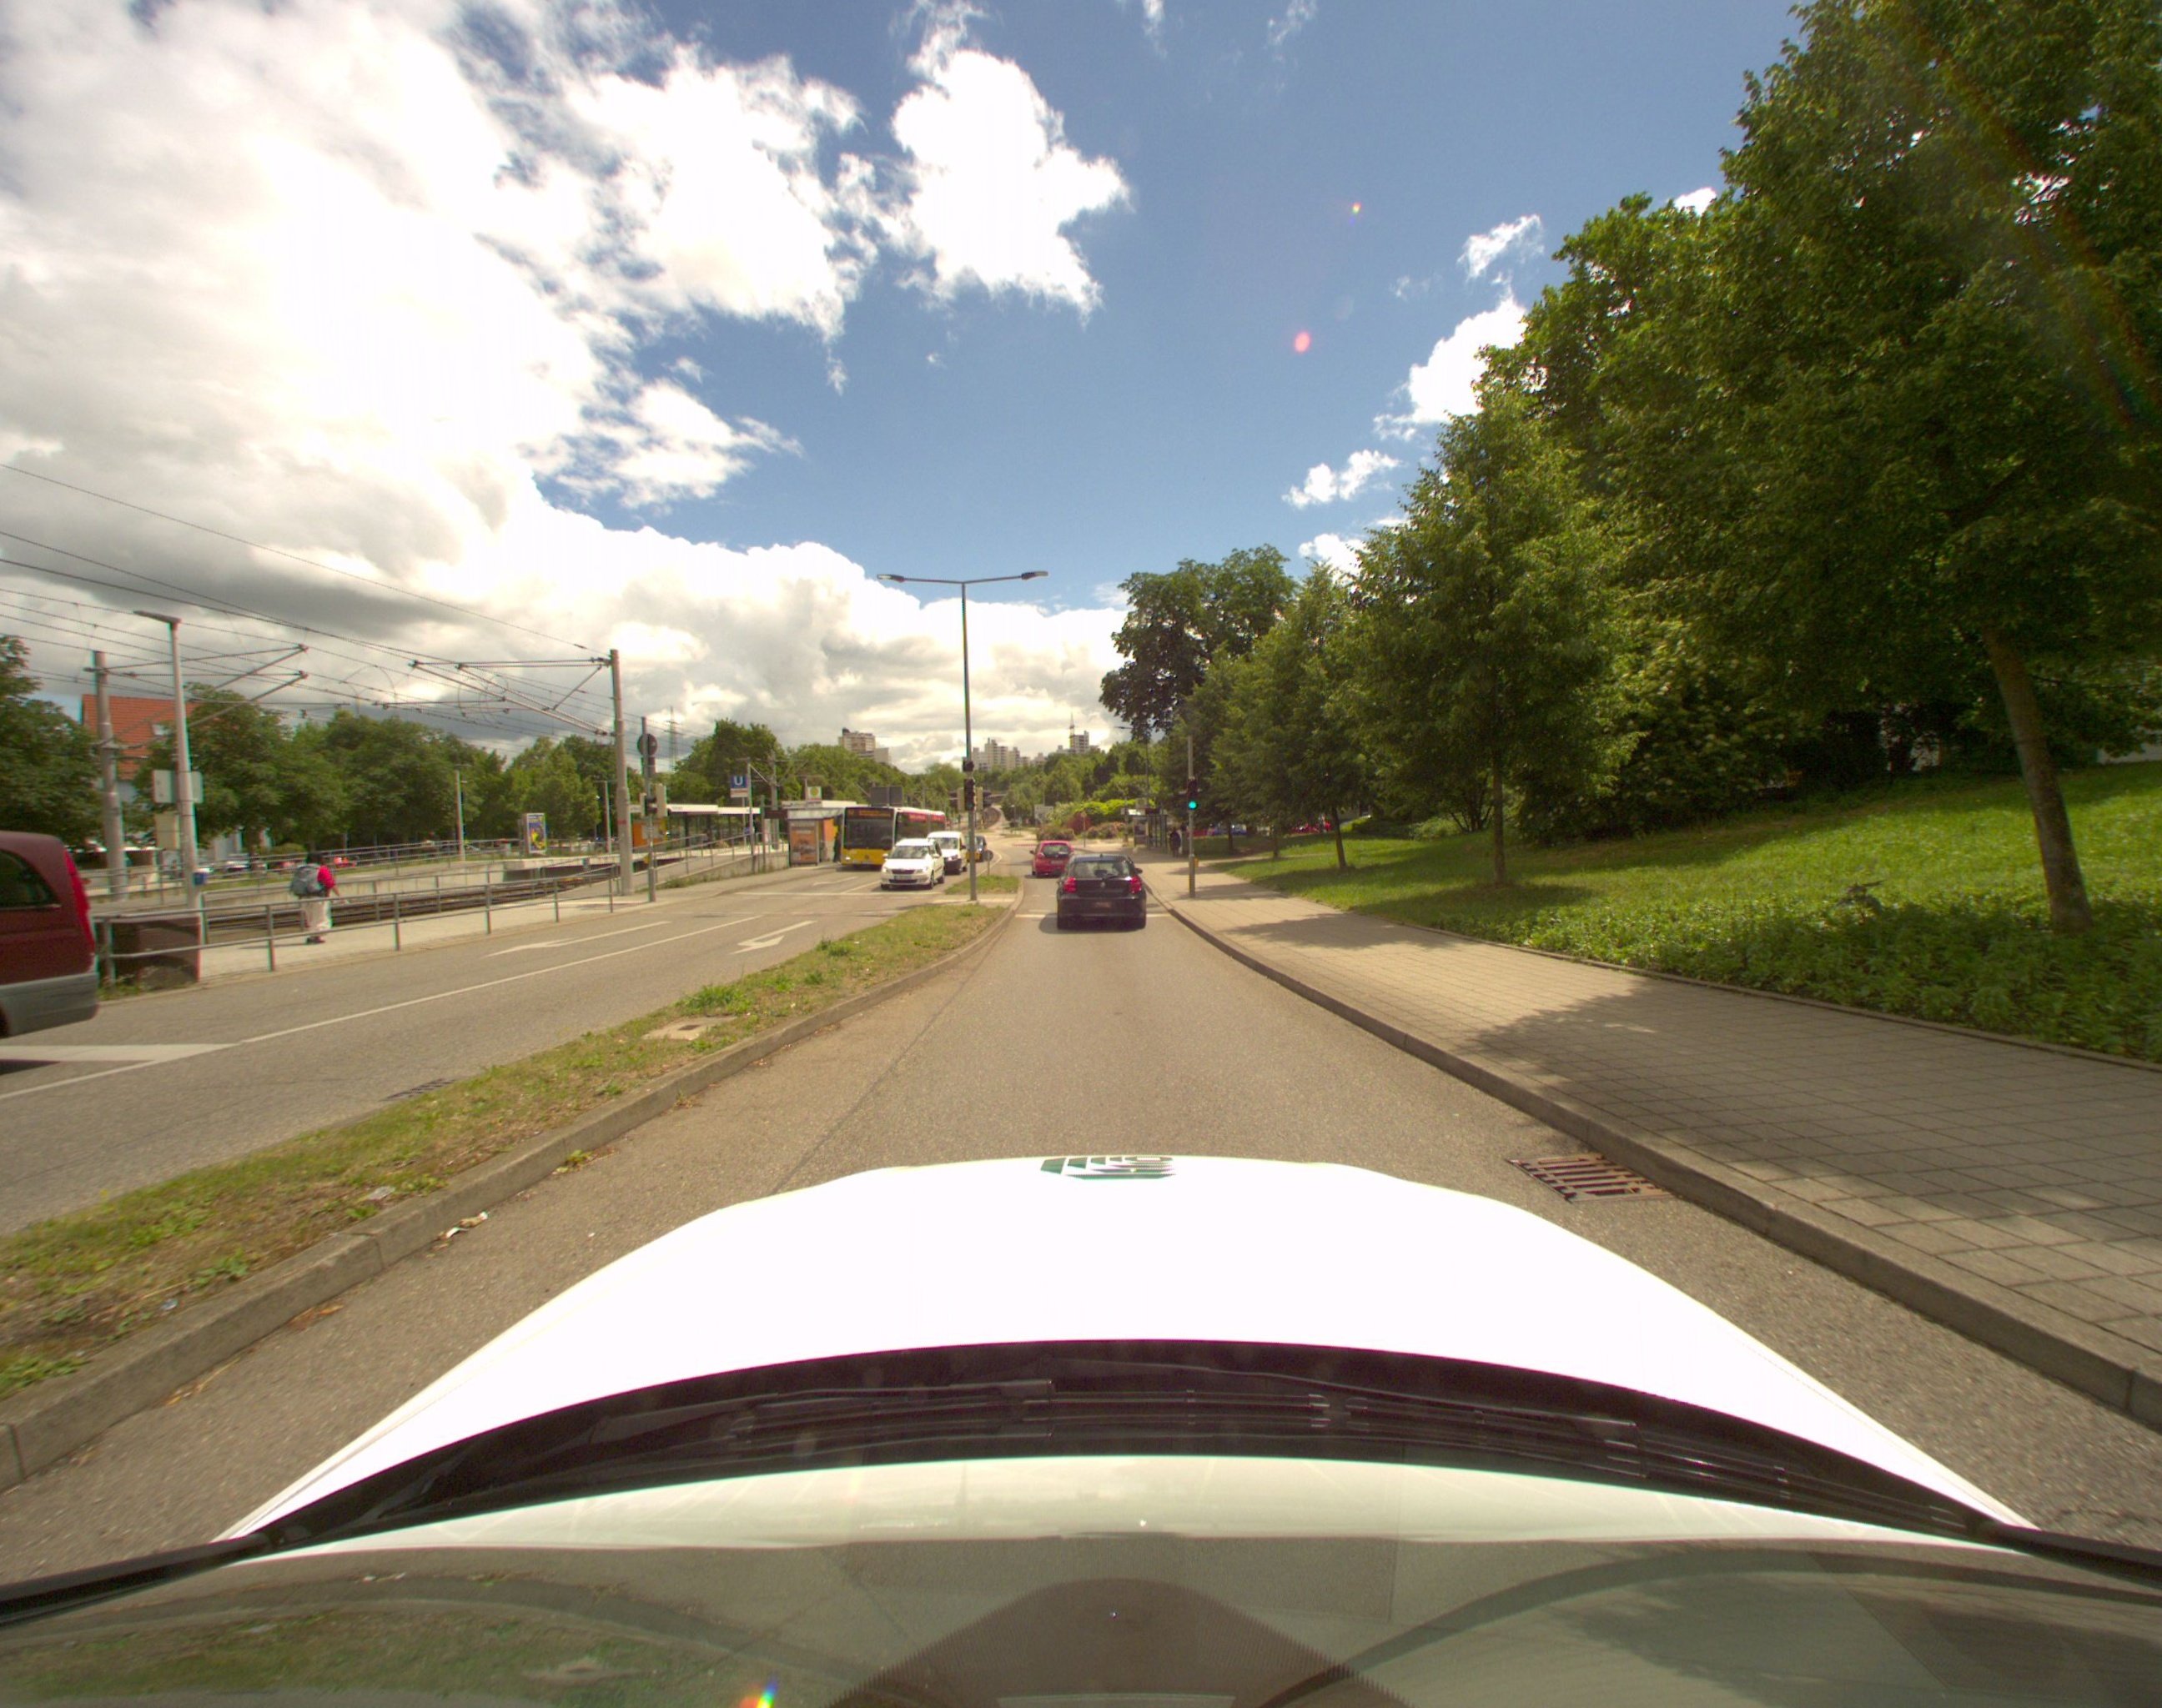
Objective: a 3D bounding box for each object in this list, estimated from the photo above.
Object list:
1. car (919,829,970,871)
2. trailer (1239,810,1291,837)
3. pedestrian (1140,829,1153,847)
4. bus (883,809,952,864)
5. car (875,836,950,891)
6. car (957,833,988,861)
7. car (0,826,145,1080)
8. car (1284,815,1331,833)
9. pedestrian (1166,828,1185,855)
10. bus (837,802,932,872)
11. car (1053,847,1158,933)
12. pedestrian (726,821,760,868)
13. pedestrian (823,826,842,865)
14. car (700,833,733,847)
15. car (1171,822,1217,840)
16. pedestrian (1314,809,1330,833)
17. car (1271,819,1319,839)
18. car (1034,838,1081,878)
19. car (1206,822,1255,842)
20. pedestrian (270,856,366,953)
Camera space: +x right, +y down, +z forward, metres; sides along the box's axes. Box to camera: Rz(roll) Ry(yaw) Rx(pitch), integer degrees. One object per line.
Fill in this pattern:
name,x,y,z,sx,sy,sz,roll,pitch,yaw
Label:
car,-5.903,-0.138,35.629,1.758,1.663,4.498,-2,-1,-4
trailer,18.109,-3.067,80.368,4.529,2.486,2.219,-1,3,-5
pedestrian,4.762,-1.187,59.137,0.824,1.258,0.686,-2,2,0
bus,-10.021,-1.155,50.795,2.719,3.069,8.958,-1,2,-2
car,-5.571,0.251,27.419,1.694,1.648,4.077,-1,2,-1
car,-6.329,-0.455,47.798,1.526,1.551,3.728,0,2,-3
car,-8.880,0.750,4.204,1.984,1.822,5.079,-1,1,4
car,22.461,-3.013,80.737,4.074,1.502,1.997,-3,4,-5
pedestrian,5.033,-0.674,43.455,0.817,1.424,0.829,-2,1,-2
bus,-9.701,-0.906,41.427,2.719,3.108,9.697,-1,2,-2
car,0.388,0.641,16.814,1.811,1.420,3.996,-2,1,-3
pedestrian,-14.989,-0.424,36.142,0.968,2.013,1.029,-2,1,0
pedestrian,-13.105,-0.447,42.978,0.701,2.013,0.826,-3,1,-7
car,-50.329,-1.937,112.454,3.629,1.705,2.051,-1,3,-4
car,11.008,-2.281,79.485,4.154,1.561,1.995,-2,5,-8
pedestrian,17.982,-2.491,60.896,0.980,1.760,0.860,-2,1,7
car,18.691,-2.185,71.281,3.681,1.643,1.827,-2,3,-6
car,-0.907,0.126,33.205,1.760,1.432,3.479,-2,2,0
car,12.970,-1.888,70.633,3.788,1.456,1.893,-3,4,-6
pedestrian,-12.703,0.820,13.586,0.798,1.540,0.834,0,1,-4
